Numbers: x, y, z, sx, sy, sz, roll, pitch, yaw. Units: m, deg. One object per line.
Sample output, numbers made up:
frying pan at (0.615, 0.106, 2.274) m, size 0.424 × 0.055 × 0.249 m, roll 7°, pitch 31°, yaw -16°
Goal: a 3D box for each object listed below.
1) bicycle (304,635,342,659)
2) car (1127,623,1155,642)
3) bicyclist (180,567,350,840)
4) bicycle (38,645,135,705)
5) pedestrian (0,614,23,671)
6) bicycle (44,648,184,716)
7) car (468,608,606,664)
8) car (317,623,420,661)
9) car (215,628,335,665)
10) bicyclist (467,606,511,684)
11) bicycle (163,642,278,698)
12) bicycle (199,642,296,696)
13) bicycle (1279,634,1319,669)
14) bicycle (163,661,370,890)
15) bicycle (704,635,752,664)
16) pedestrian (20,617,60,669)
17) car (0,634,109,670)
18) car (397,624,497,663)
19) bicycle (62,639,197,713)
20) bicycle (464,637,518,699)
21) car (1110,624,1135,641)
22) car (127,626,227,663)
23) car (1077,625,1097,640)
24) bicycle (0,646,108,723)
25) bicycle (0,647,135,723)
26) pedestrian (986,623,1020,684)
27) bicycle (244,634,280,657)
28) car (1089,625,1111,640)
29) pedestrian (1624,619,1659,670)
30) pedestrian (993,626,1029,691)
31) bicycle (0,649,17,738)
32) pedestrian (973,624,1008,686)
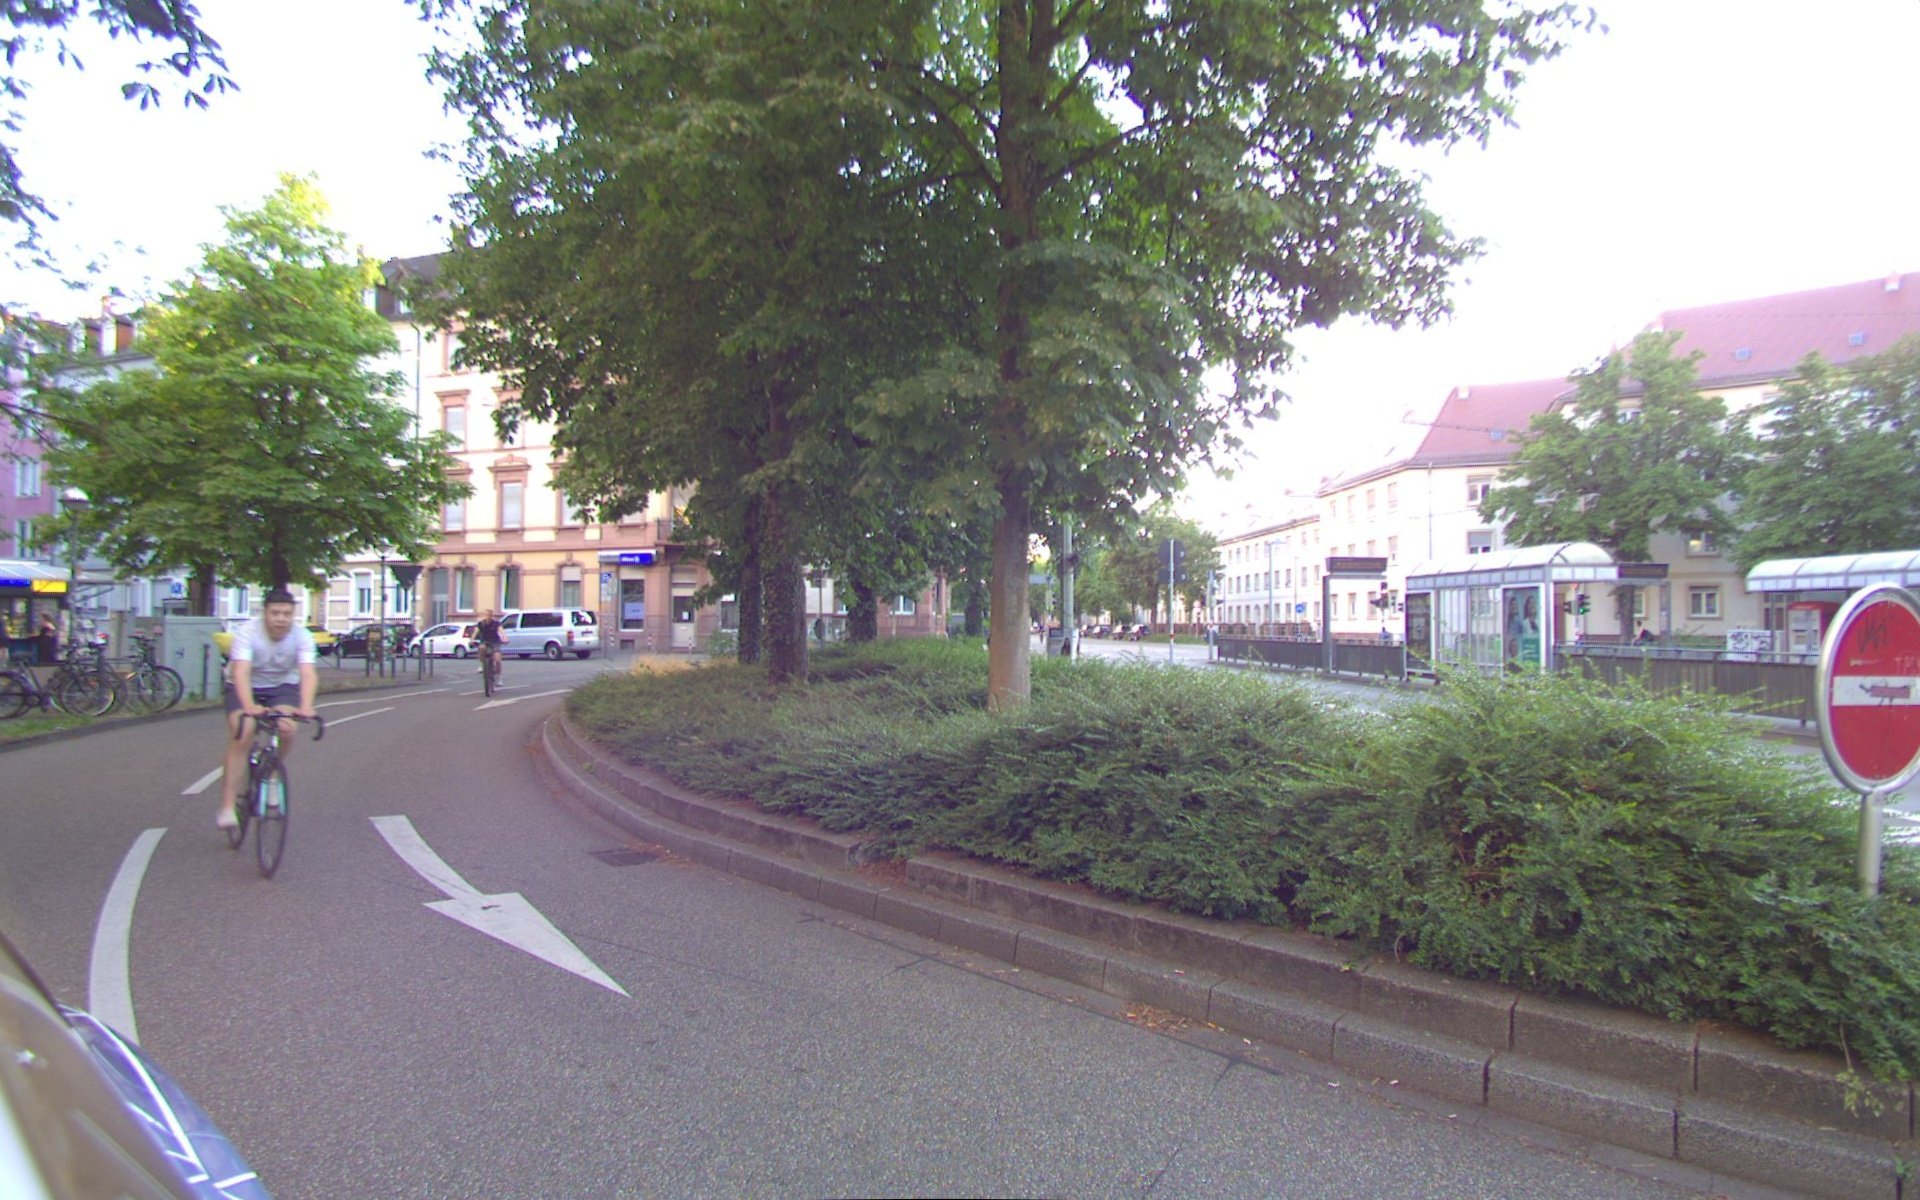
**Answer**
bicycle at (-30.373, 2.228, 48.249) m, size 1.850 × 1.149 × 0.478 m, roll -1°, pitch -2°, yaw 21°
car at (18.239, 3.312, 102.046) m, size 1.882 × 1.864 × 4.002 m, roll 0°, pitch -2°, yaw -3°
bicyclist at (-4.302, 0.596, 6.255) m, size 0.973 × 1.524 × 0.676 m, roll -2°, pitch -3°, yaw 45°
bicycle at (-15.443, 1.305, 17.948) m, size 0.425 × 0.976 × 1.730 m, roll 0°, pitch -2°, yaw -9°
pedestrian at (-27.959, 1.238, 29.531) m, size 0.581 × 1.650 × 0.680 m, roll 0°, pitch -2°, yaw -11°
bicycle at (-13.254, 1.266, 15.894) m, size 1.581 × 1.028 × 0.556 m, roll 1°, pitch -2°, yaw -14°
car at (-16.632, 1.385, 39.819) m, size 4.967 × 2.072 × 2.034 m, roll -1°, pitch 0°, yaw 20°
car at (-25.064, 1.764, 42.904) m, size 3.708 × 1.502 × 1.726 m, roll -1°, pitch 0°, yaw 16°
car at (-30.172, 2.049, 44.609) m, size 4.760 × 1.537 × 1.834 m, roll -1°, pitch 0°, yaw 17°
bicyclist at (-9.457, 0.890, 20.314) m, size 0.675 × 1.524 × 0.975 m, roll 1°, pitch -2°, yaw -33°
bicycle at (-14.269, 1.348, 19.546) m, size 1.872 × 1.047 × 0.432 m, roll 0°, pitch -2°, yaw -1°
bicycle at (-14.015, 1.350, 19.925) m, size 1.584 × 1.047 × 0.432 m, roll 0°, pitch -2°, yaw -1°
bicycle at (10.553, 1.601, 31.537) m, size 0.538 × 1.059 × 1.856 m, roll 0°, pitch -2°, yaw -3°
bicycle at (-4.398, 0.987, 6.346) m, size 2.116 × 1.160 × 0.676 m, roll -2°, pitch -3°, yaw 45°
bicycle at (-9.093, 1.939, 39.648) m, size 1.776 × 1.091 × 0.559 m, roll 0°, pitch -1°, yaw 7°
pedestrian at (-27.542, 1.289, 30.311) m, size 0.581 × 1.551 × 0.680 m, roll 0°, pitch -2°, yaw -11°
car at (-40.463, 2.257, 44.897) m, size 4.803 × 1.528 × 1.987 m, roll -1°, pitch -2°, yaw 19°
car at (-21.140, 1.768, 41.741) m, size 3.584 × 1.502 × 1.679 m, roll -1°, pitch 0°, yaw 19°
bicycle at (-13.365, 1.207, 16.326) m, size 1.581 × 1.157 × 0.556 m, roll 1°, pitch -2°, yaw -14°
bicycle at (-9.321, 1.319, 20.071) m, size 0.675 × 1.160 × 2.121 m, roll 1°, pitch -2°, yaw -32°
car at (17.763, 3.539, 110.936) m, size 1.882 × 1.864 × 4.002 m, roll 0°, pitch -2°, yaw -3°
car at (-36.192, 2.039, 46.789) m, size 4.115 × 1.605 × 1.793 m, roll -1°, pitch 0°, yaw 21°
car at (16.546, 4.225, 132.063) m, size 1.882 × 1.864 × 4.002 m, roll 0°, pitch -2°, yaw -3°
bicycle at (-13.324, 1.204, 14.543) m, size 1.580 × 1.084 × 0.420 m, roll 1°, pitch -2°, yaw -18°
bicycle at (-13.265, 1.241, 14.959) m, size 1.580 × 1.071 × 0.420 m, roll 1°, pitch -2°, yaw -18°
pedestrian at (1.040, 1.287, 24.342) m, size 0.650 × 1.442 × 0.614 m, roll -1°, pitch -2°, yaw 20°
bicycle at (-34.235, 2.238, 49.656) m, size 1.850 × 1.149 × 0.478 m, roll -1°, pitch -2°, yaw 21°
car at (16.939, 3.941, 122.773) m, size 1.882 × 1.864 × 4.002 m, roll 0°, pitch -2°, yaw -3°
pedestrian at (28.564, 1.868, 42.415) m, size 1.060 × 2.101 × 0.999 m, roll -1°, pitch -2°, yaw 43°
pedestrian at (1.160, 1.328, 23.004) m, size 0.650 × 1.442 × 0.614 m, roll -1°, pitch -2°, yaw 20°
bicycle at (-12.586, 1.137, 12.158) m, size 1.765 × 1.071 × 0.449 m, roll 1°, pitch -2°, yaw -22°
pedestrian at (0.724, 1.278, 23.683) m, size 0.650 × 1.442 × 0.614 m, roll -1°, pitch -2°, yaw 20°
